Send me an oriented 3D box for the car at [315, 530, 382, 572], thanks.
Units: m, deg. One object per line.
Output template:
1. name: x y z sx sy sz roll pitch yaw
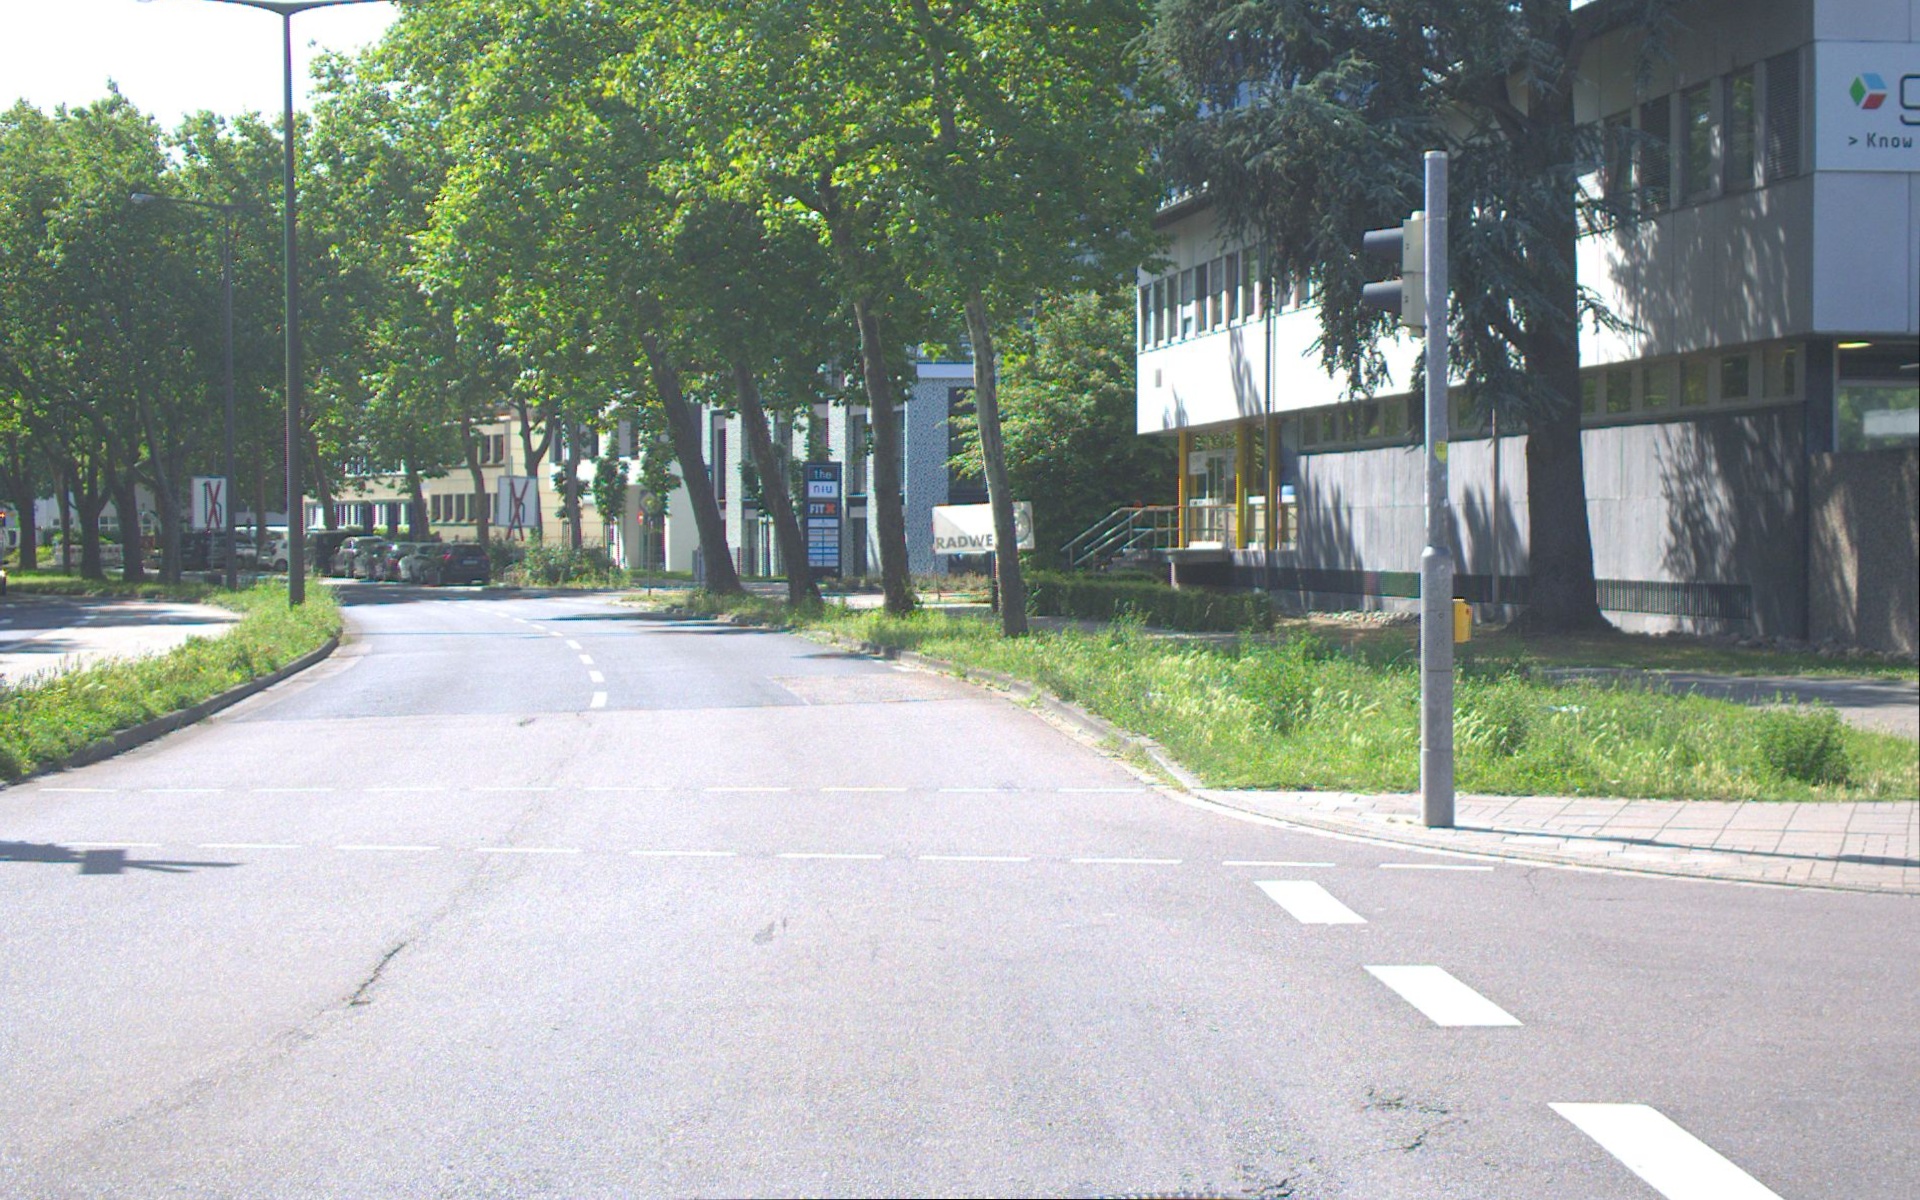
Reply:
1. car: -24.990 -2.022 140.398 1.706 1.663 4.535 -1 2 -23

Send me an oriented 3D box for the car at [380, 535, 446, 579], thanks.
1. car: -19.681 -1.568 123.646 1.706 1.482 4.102 -1 2 -18

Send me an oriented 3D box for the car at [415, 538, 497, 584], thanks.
1. car: -17.443 -1.357 118.763 1.706 1.482 4.720 -2 2 -22

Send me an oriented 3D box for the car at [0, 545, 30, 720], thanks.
1. car: -9.199 0.314 28.545 1.694 1.503 4.129 0 2 2

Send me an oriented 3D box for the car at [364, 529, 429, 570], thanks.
1. car: -21.183 -1.923 129.066 1.706 1.450 4.657 -1 2 -18
